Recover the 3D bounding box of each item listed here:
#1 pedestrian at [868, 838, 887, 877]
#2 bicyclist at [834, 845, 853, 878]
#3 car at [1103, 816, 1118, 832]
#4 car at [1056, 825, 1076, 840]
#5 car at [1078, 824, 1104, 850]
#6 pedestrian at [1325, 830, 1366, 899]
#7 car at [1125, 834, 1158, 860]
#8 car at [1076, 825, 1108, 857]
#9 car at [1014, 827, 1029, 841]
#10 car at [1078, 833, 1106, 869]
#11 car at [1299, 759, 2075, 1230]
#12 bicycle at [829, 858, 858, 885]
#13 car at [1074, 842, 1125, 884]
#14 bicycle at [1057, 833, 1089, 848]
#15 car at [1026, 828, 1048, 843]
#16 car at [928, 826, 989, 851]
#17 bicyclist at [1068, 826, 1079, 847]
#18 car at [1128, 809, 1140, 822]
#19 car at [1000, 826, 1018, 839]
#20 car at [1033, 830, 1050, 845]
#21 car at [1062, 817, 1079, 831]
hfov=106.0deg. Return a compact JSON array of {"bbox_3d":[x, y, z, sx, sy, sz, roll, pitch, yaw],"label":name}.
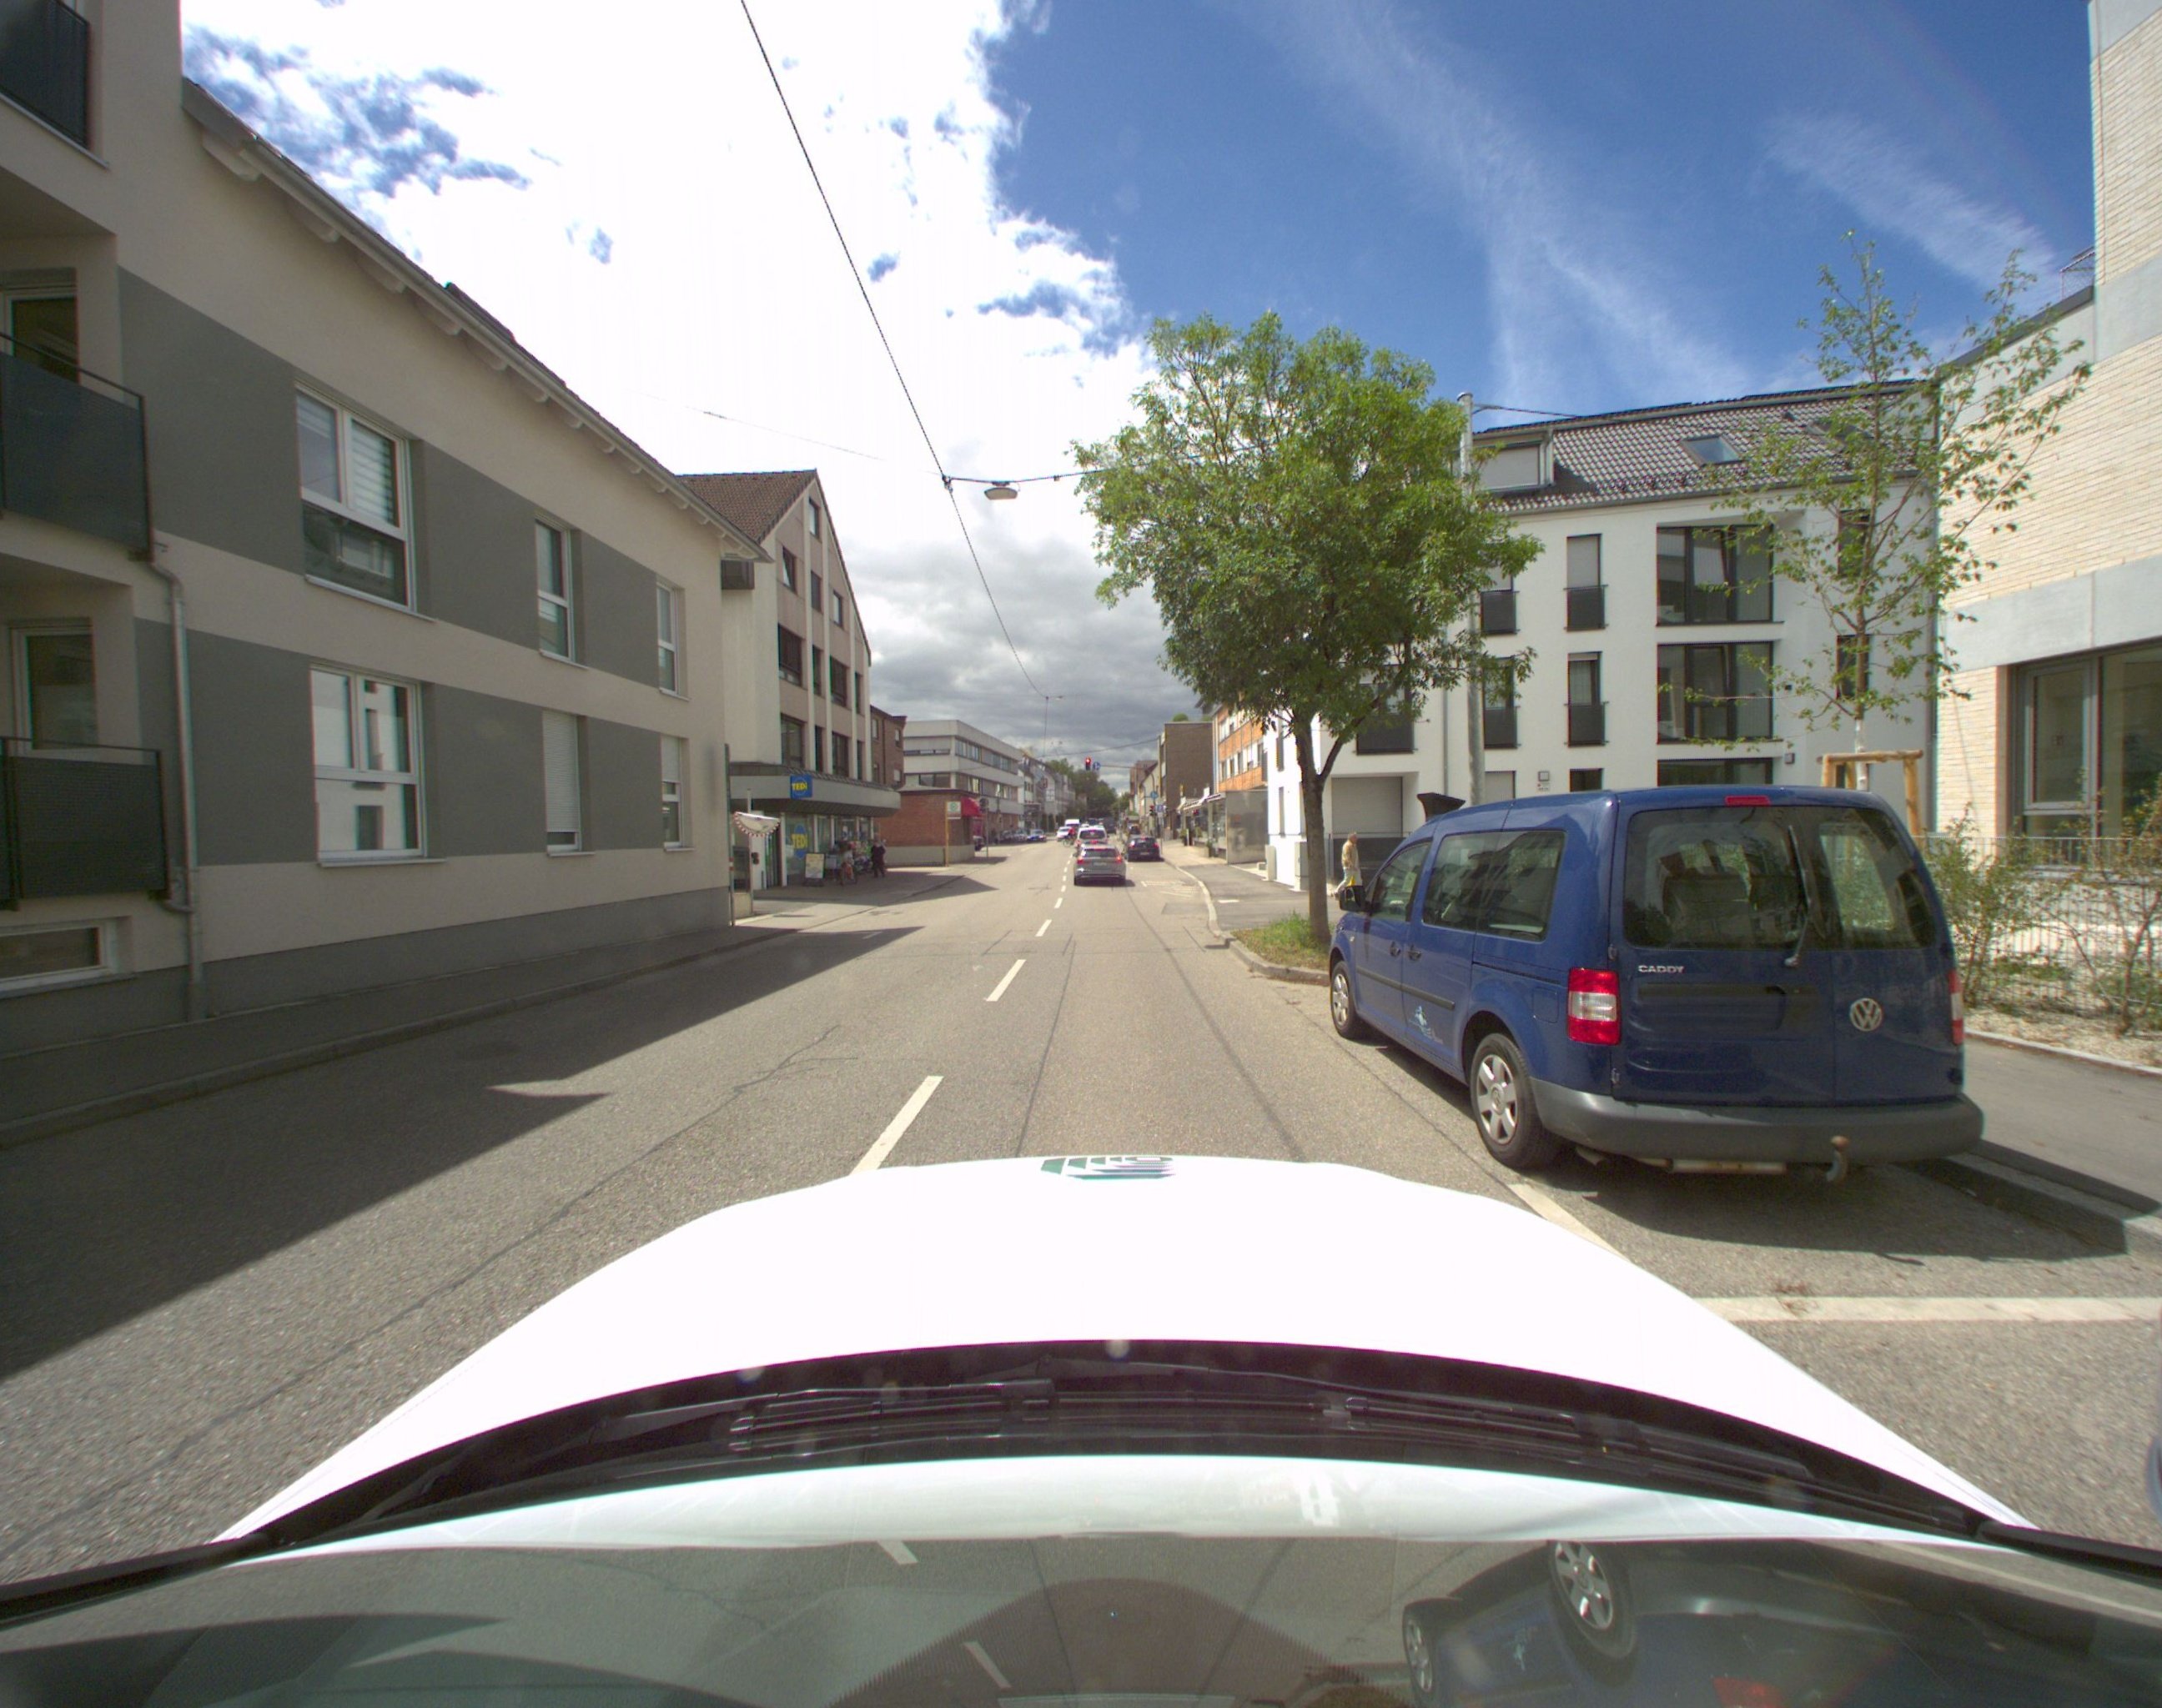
[{"bbox_3d":[-8.389,0.147,33.596,0.625,1.602,0.563,-1,0,4],"label":"pedestrian"},{"bbox_3d":[-8.555,0.272,29.365,0.456,1.179,0.625,-2,0,1],"label":"bicyclist"},{"bbox_3d":[4.671,-4.741,129.895,2.427,2.318,5.328,0,1,2],"label":"car"},{"bbox_3d":[-1.659,-2.453,92.688,1.864,1.640,4.004,0,0,4],"label":"car"},{"bbox_3d":[0.708,-1.238,61.359,1.831,1.862,3.849,-1,0,-1],"label":"car"},{"bbox_3d":[6.464,0.251,19.893,0.608,1.647,0.743,-2,0,45],"label":"pedestrian"},{"bbox_3d":[3.379,-0.391,45.952,1.746,1.371,4.003,-1,1,2],"label":"car"},{"bbox_3d":[0.719,-0.768,49.623,1.829,1.862,3.852,-1,0,2],"label":"car"},{"bbox_3d":[-6.863,-2.292,94.092,1.379,1.541,3.400,-1,0,2],"label":"car"},{"bbox_3d":[0.567,-0.178,39.934,1.269,1.527,3.052,-2,3,1],"label":"car"},{"bbox_3d":[2.899,0.543,5.353,1.837,1.767,4.517,-1,0,2],"label":"car"},{"bbox_3d":[-8.549,0.608,29.367,0.465,0.861,1.778,0,2,2],"label":"bicycle"},{"bbox_3d":[0.711,0.296,30.217,1.737,1.417,4.002,-2,0,2],"label":"car"},{"bbox_3d":[-0.660,-1.088,66.339,2.512,1.174,0.586,-1,0,4],"label":"bicycle"},{"bbox_3d":[-4.769,-2.011,89.032,1.864,1.640,4.004,0,0,4],"label":"car"},{"bbox_3d":[-9.452,-1.192,63.202,4.317,1.726,1.848,-2,0,5],"label":"car"},{"bbox_3d":[-0.596,-1.424,66.356,0.768,1.606,0.581,-1,0,4],"label":"bicyclist"},{"bbox_3d":[9.336,-6.753,143.577,1.795,2.014,4.002,-1,0,2],"label":"car"},{"bbox_3d":[-7.862,-2.335,88.880,1.546,1.376,3.400,-1,0,2],"label":"car"},{"bbox_3d":[-5.665,-2.396,117.290,1.986,2.013,4.002,0,0,2],"label":"car"},{"bbox_3d":[-1.311,-3.916,107.154,1.864,1.640,4.004,-1,0,4],"label":"car"}]
